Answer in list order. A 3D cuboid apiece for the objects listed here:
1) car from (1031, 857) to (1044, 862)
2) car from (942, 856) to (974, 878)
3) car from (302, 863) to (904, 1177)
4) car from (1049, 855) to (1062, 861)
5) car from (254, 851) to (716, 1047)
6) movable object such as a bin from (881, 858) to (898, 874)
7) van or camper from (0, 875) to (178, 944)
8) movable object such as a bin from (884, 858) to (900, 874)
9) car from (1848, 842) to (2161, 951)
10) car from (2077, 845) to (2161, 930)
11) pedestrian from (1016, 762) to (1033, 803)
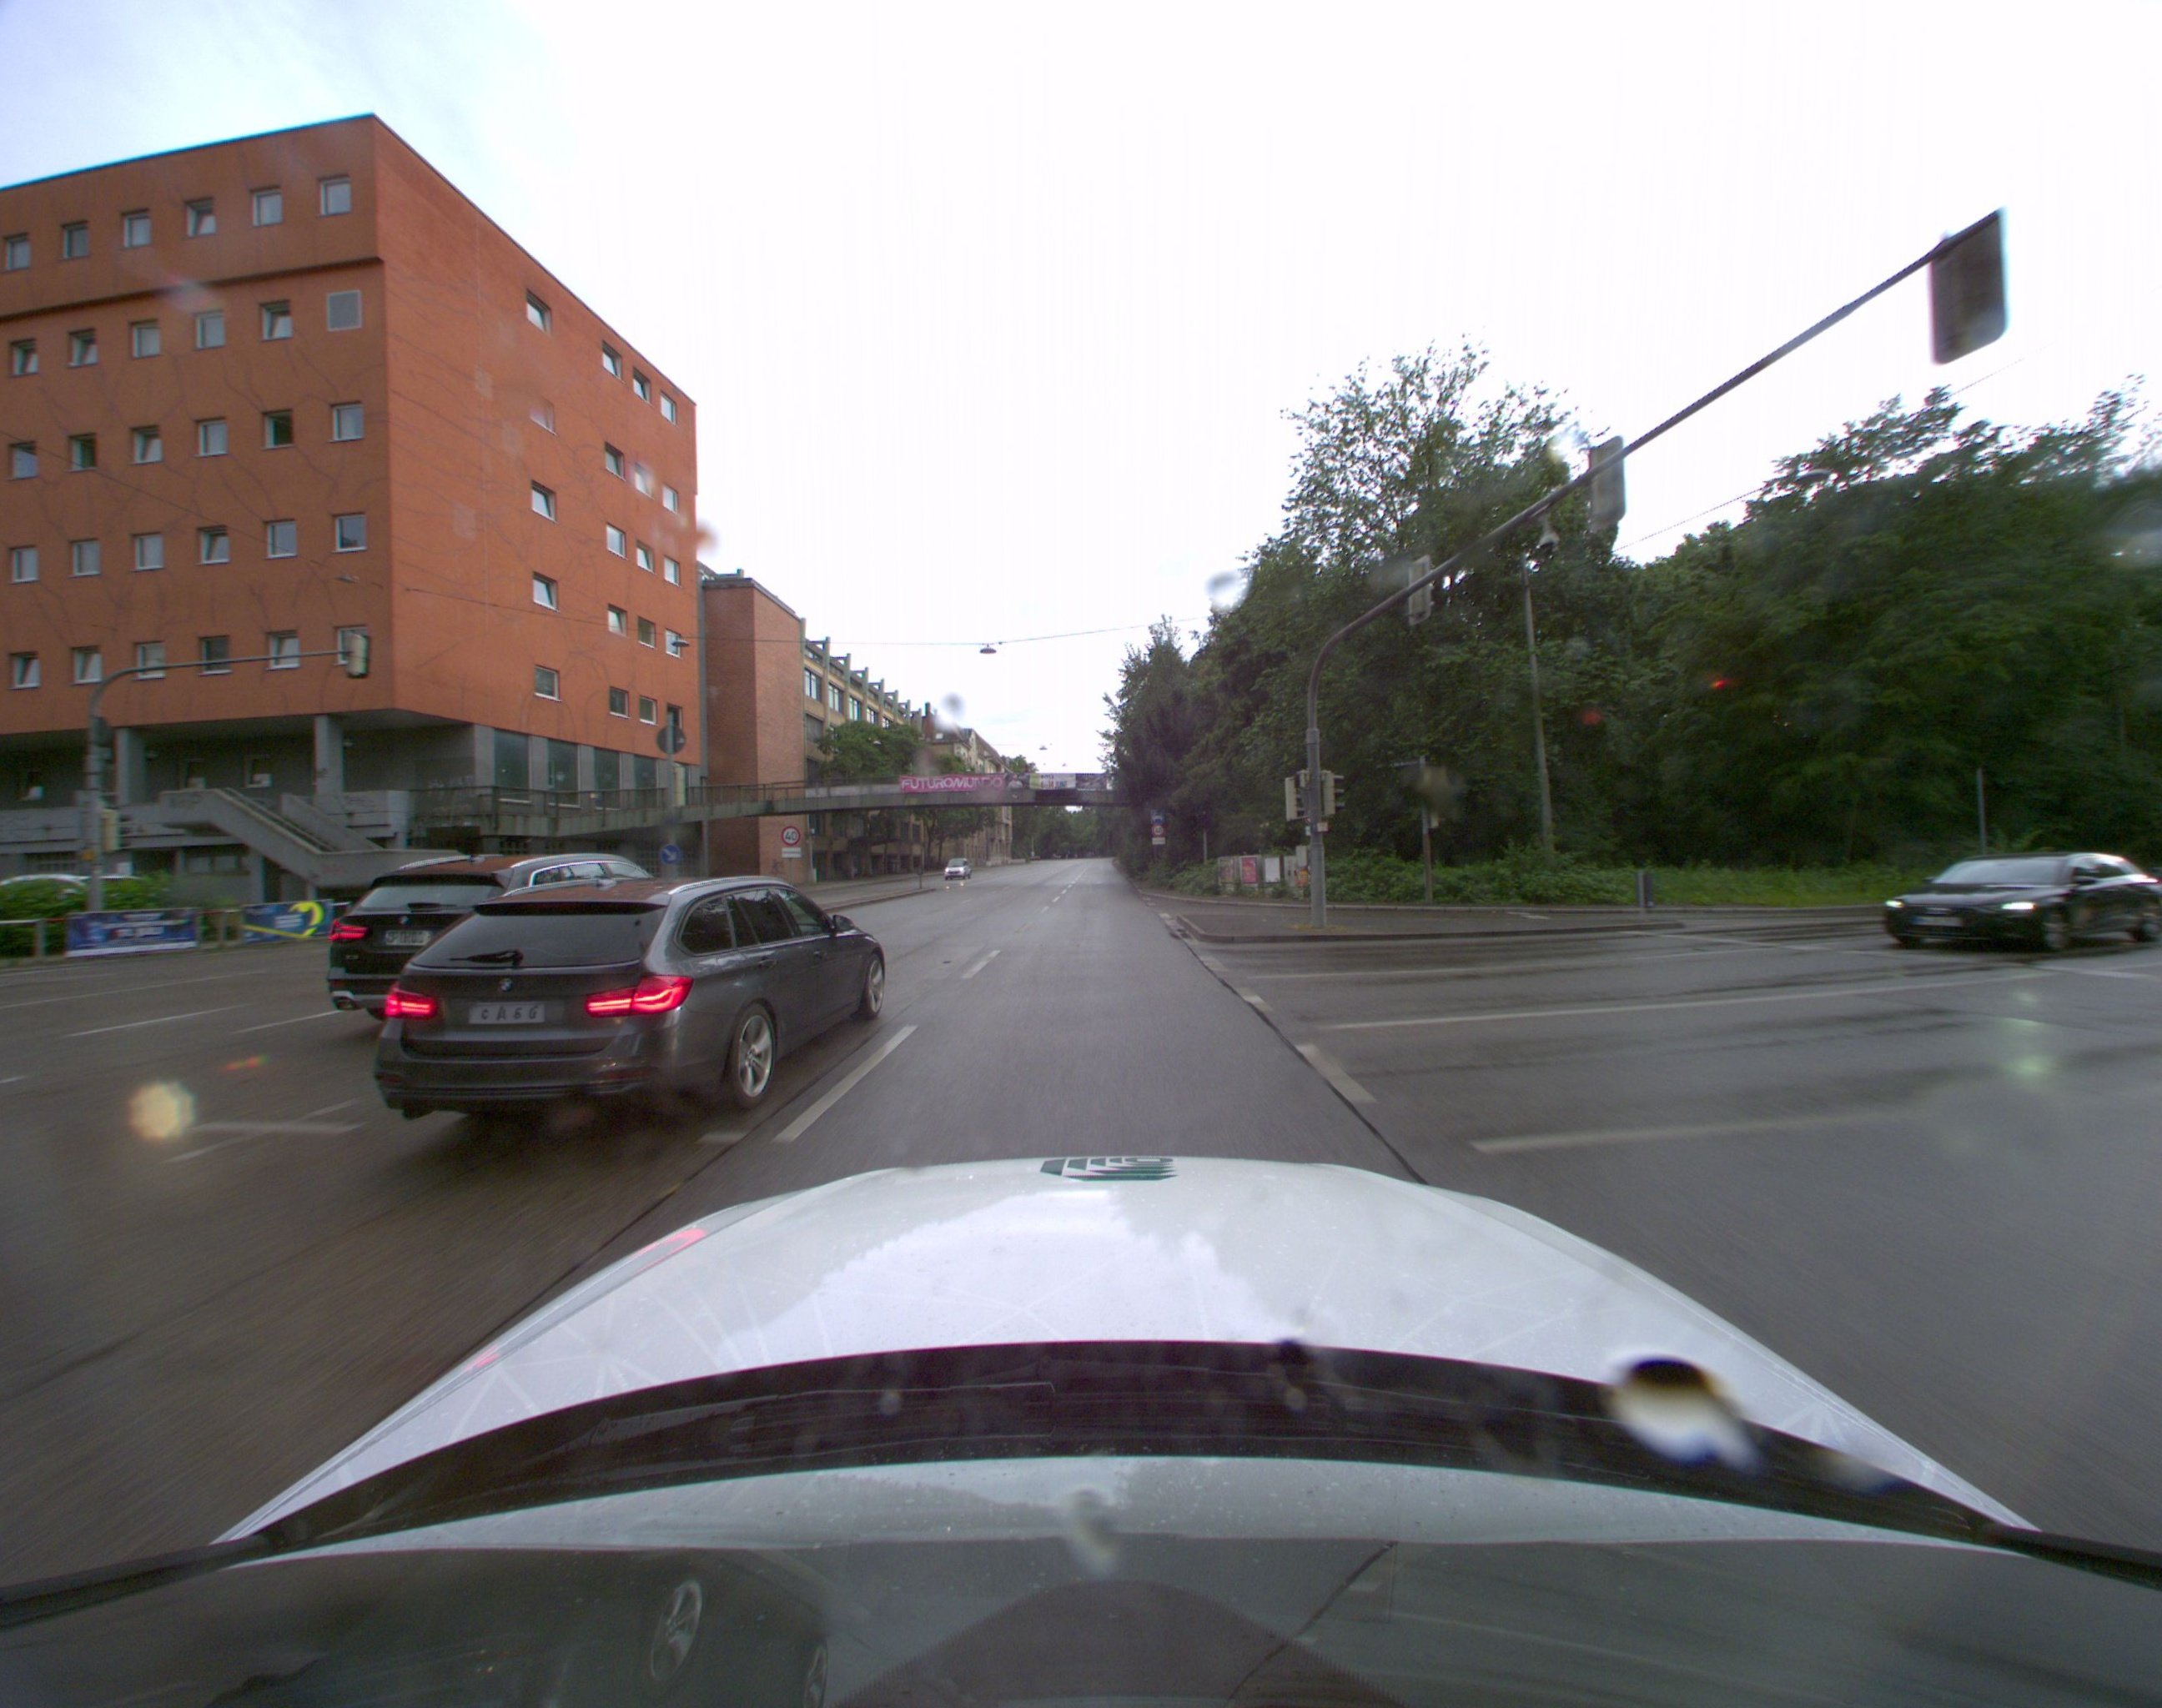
[{"bbox_3d":[-12.774,1.609,237.604,2.017,1.643,4.334,-1,0,-30],"label":"car"},{"bbox_3d":[-9.059,0.950,60.210,1.594,1.499,3.713,-3,-1,2],"label":"car"},{"bbox_3d":[-2.824,0.834,6.203,1.770,1.458,4.480,-2,0,2],"label":"car"},{"bbox_3d":[-7.697,1.177,246.377,3.572,1.547,1.615,1,-1,3],"label":"car"},{"bbox_3d":[-6.022,0.814,9.092,1.802,1.656,4.445,0,0,1],"label":"car"},{"bbox_3d":[-18.789,1.185,79.841,1.277,1.518,1.273,-1,0,2],"label":"movable object such as a bin"},{"bbox_3d":[-26.293,1.416,21.078,3.966,1.627,1.918,-1,0,6],"label":"van or camper"},{"bbox_3d":[-18.935,1.209,81.577,1.294,1.518,1.215,-1,0,2],"label":"movable object such as a bin"},{"bbox_3d":[14.804,0.609,12.905,4.207,1.440,1.939,-1,-2,-16],"label":"car"},{"bbox_3d":[20.451,0.539,14.508,4.441,1.402,1.820,-1,0,-16],"label":"car"},{"bbox_3d":[-3.405,-4.276,48.900,0.952,2.345,1.005,1,-1,-5],"label":"pedestrian"}]
